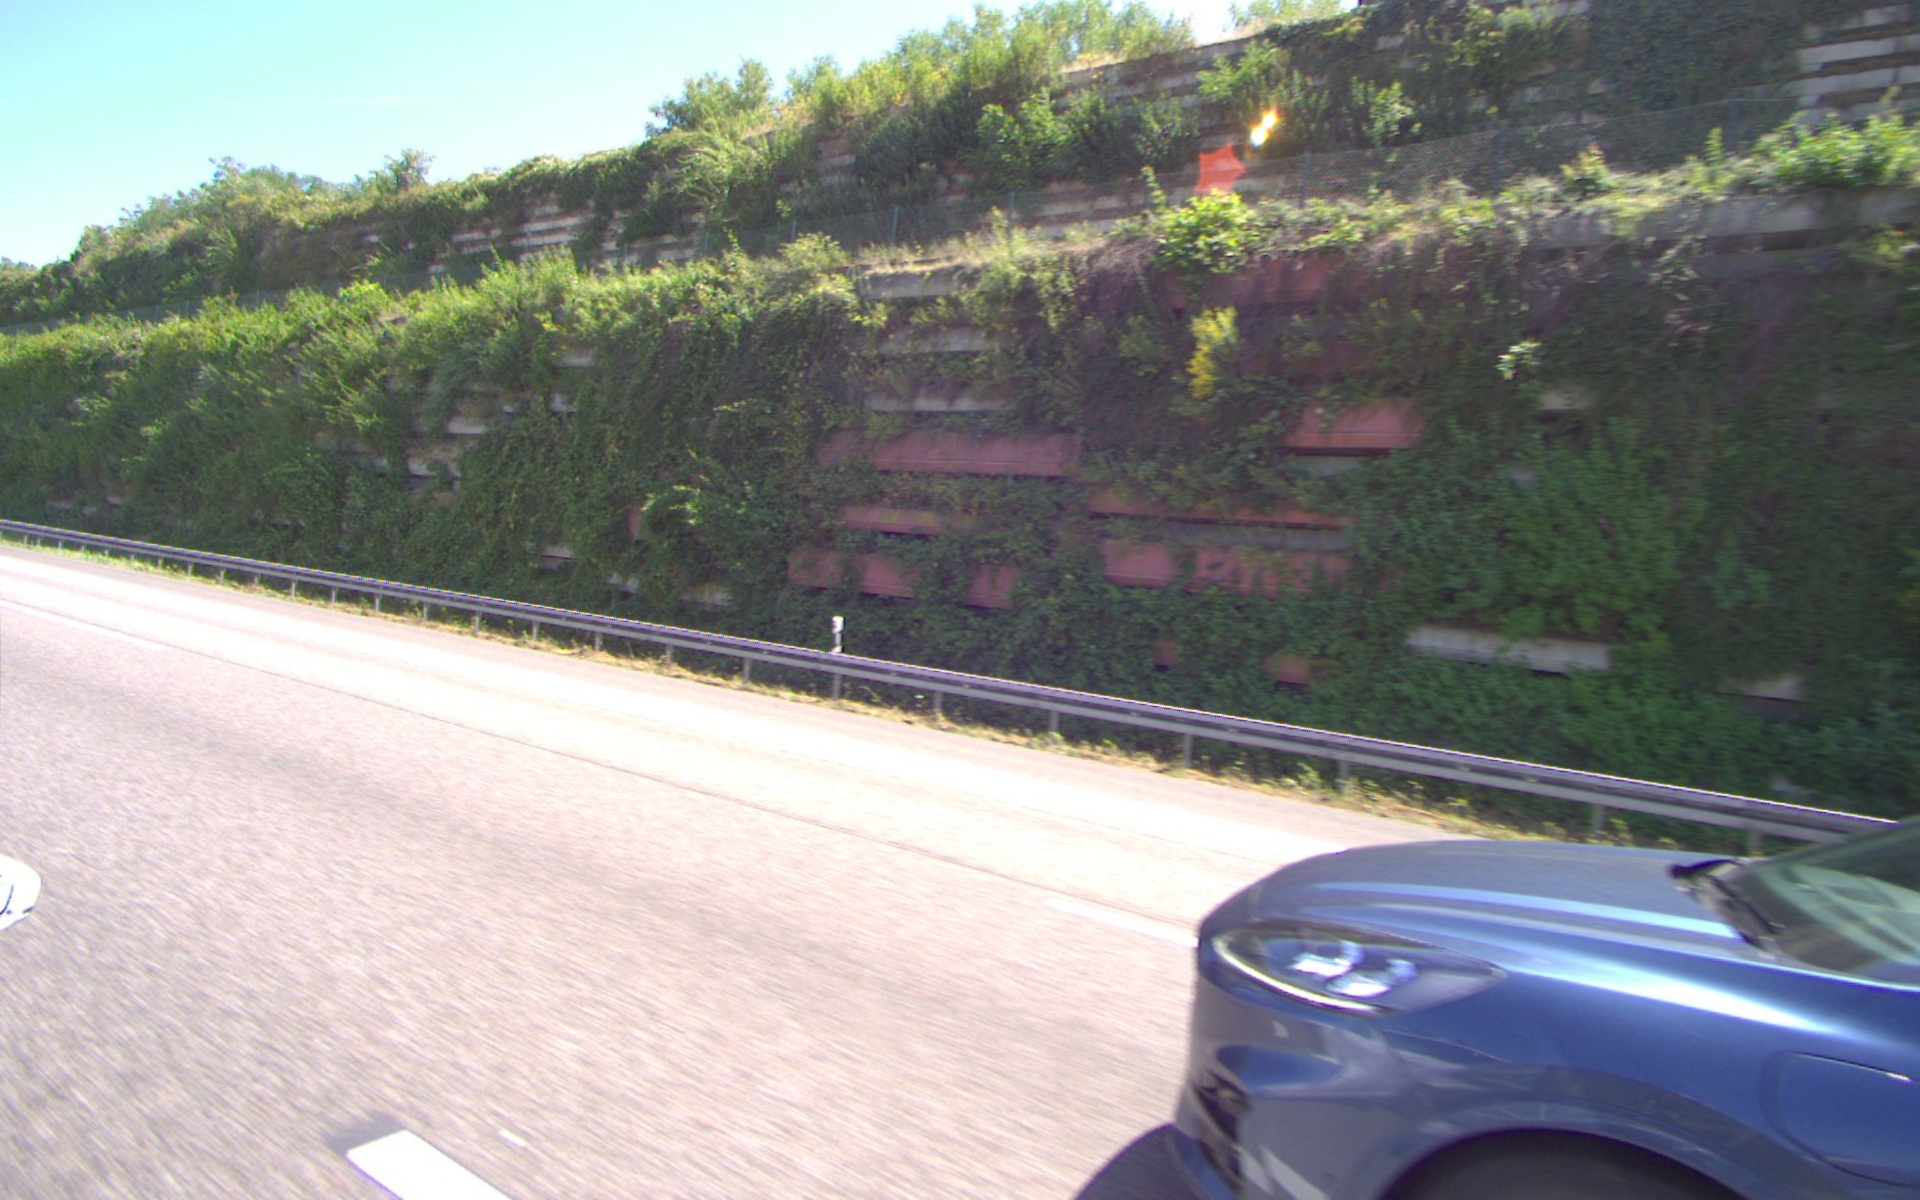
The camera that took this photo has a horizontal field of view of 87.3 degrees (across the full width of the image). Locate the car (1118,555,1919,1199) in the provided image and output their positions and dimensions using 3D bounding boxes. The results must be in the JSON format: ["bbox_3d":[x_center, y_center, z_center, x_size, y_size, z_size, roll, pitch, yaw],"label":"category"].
[{"bbox_3d":[2.567,1.007,1.811,4.069,1.673,1.797,7,-1,31],"label":"car"}]
